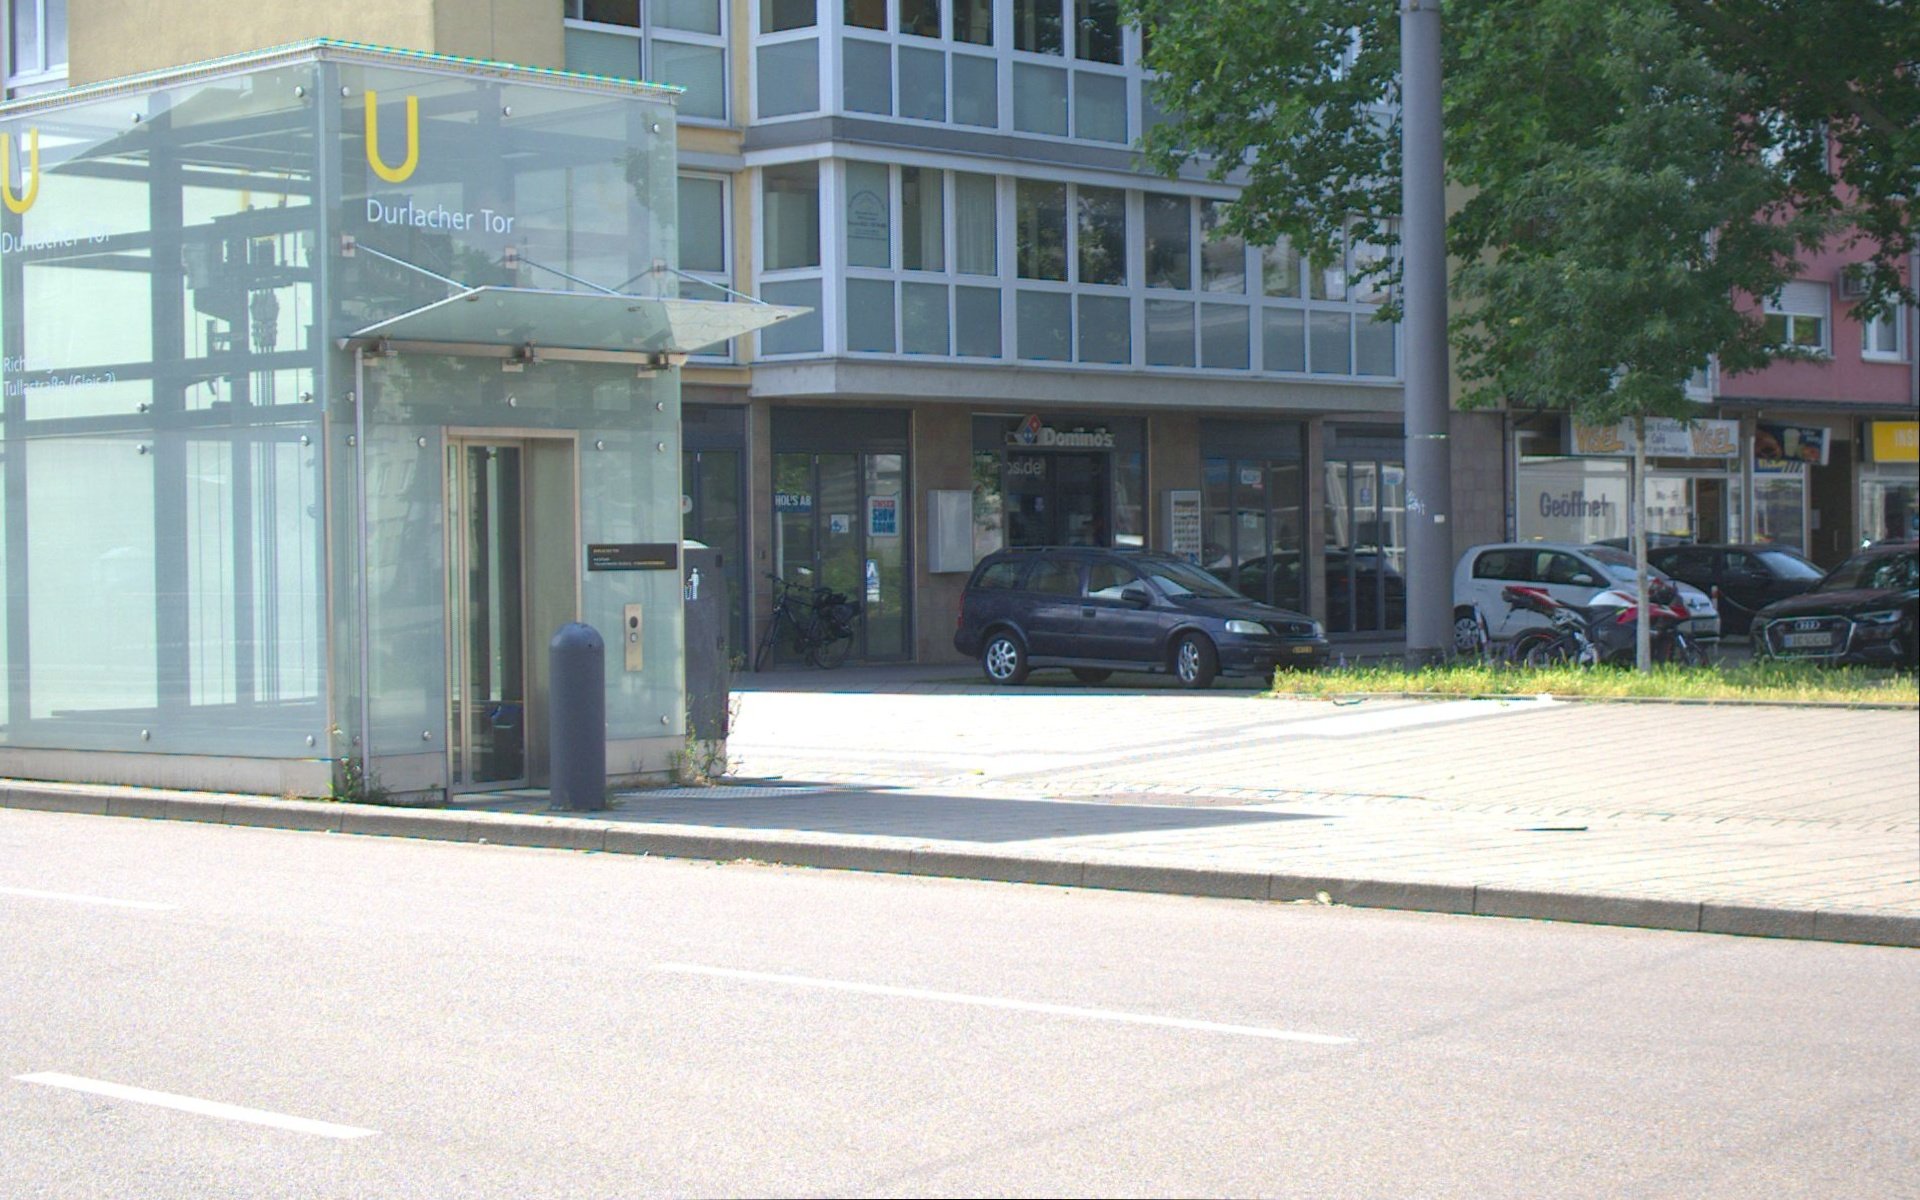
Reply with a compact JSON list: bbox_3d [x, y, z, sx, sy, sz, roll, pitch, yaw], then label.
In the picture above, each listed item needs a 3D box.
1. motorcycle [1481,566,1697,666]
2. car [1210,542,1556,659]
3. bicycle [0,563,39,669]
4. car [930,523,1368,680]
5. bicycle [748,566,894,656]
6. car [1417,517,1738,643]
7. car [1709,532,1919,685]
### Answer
[{"bbox_3d":[5.868,0.145,32.115,1.888,0.899,0.605,-1,1,0],"label":"motorcycle"},{"bbox_3d":[5.124,0.033,41.980,3.996,1.322,1.582,-2,-2,42],"label":"car"},{"bbox_3d":[-11.568,0.166,40.886,0.486,1.197,1.645,-2,4,-43],"label":"bicycle"},{"bbox_3d":[1.980,0.008,36.815,4.388,1.579,1.995,1,0,41],"label":"car"},{"bbox_3d":[-1.607,0.130,39.904,0.681,1.016,1.777,-1,-1,39],"label":"bicycle"},{"bbox_3d":[7.999,-0.226,44.673,3.571,1.525,1.995,-2,-2,42],"label":"car"},{"bbox_3d":[9.866,0.045,36.619,1.796,1.415,3.990,4,5,45],"label":"car"}]
